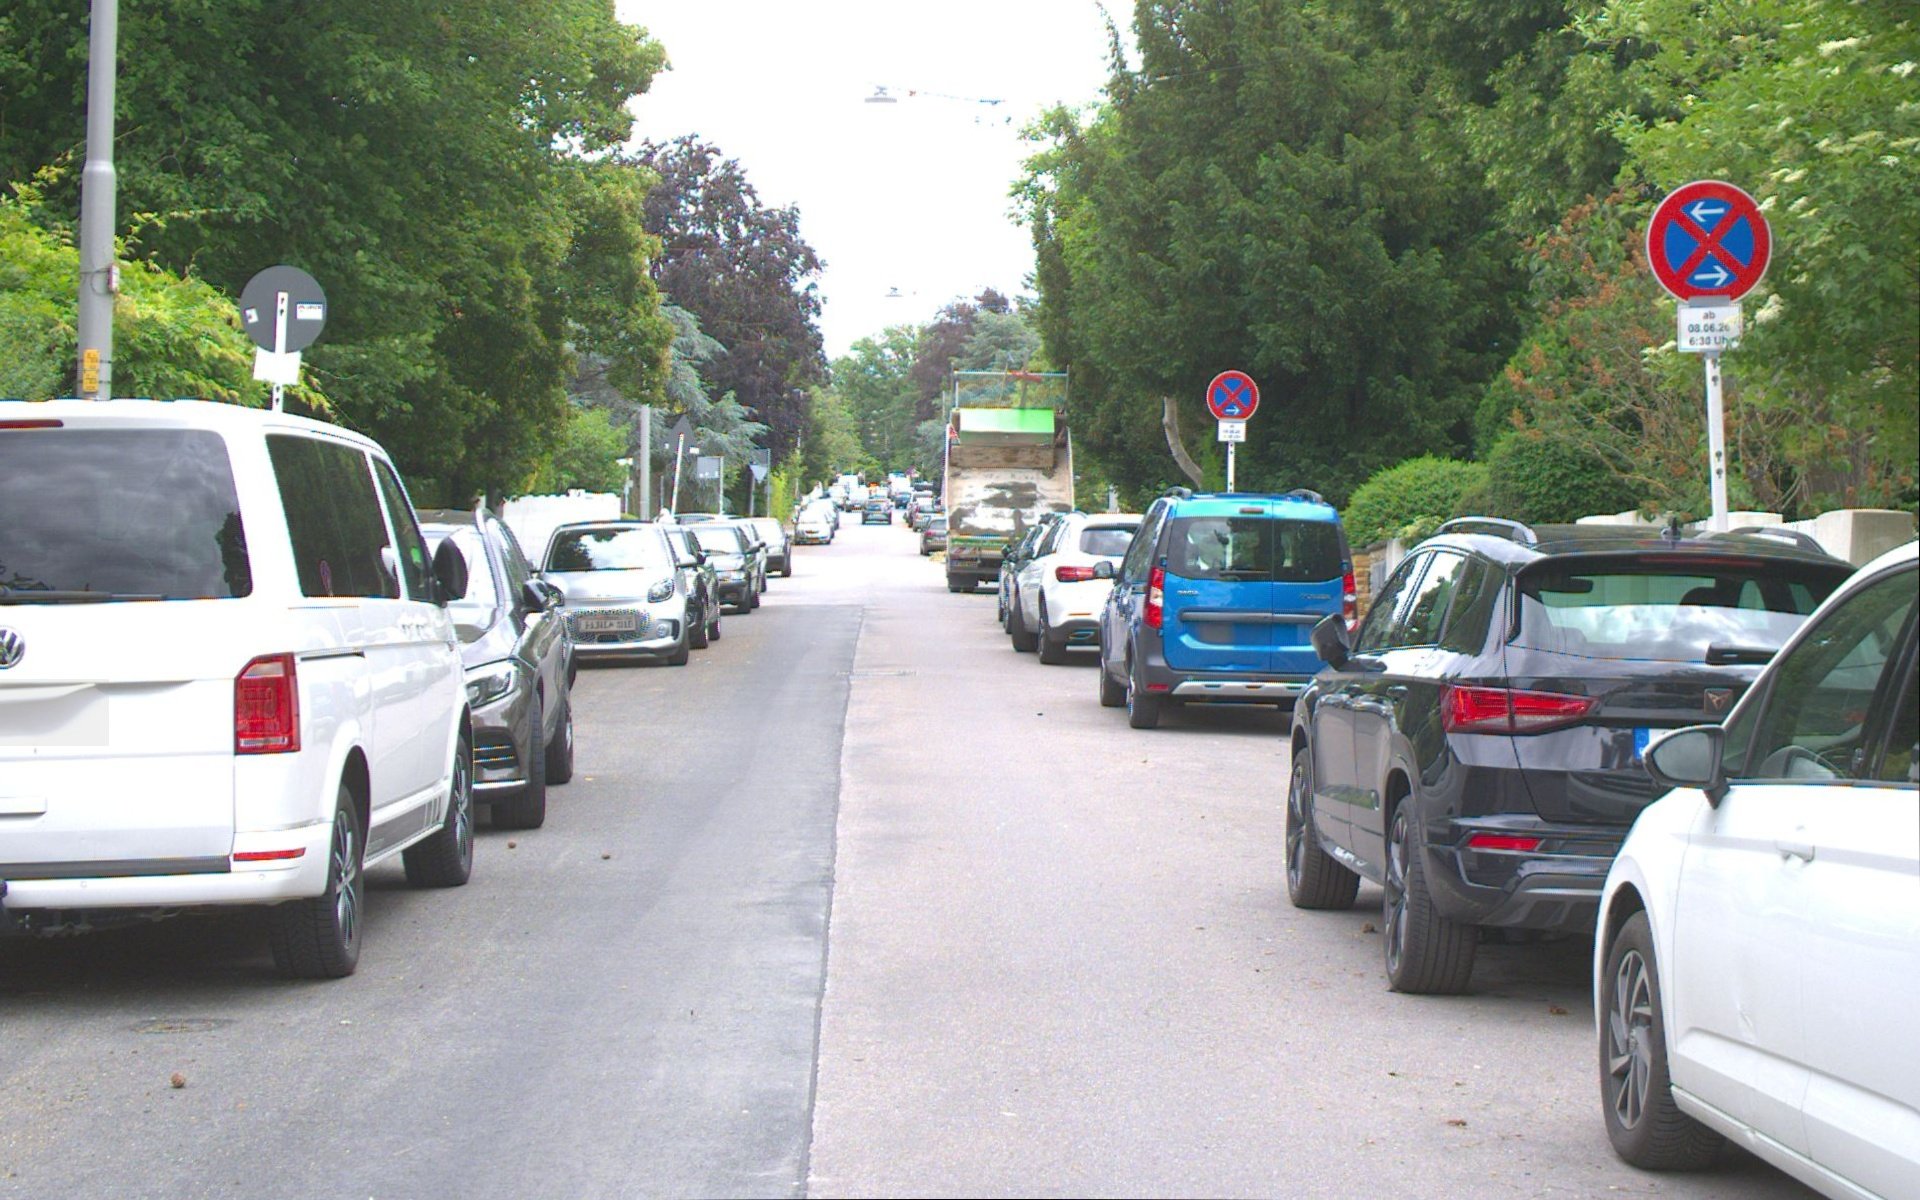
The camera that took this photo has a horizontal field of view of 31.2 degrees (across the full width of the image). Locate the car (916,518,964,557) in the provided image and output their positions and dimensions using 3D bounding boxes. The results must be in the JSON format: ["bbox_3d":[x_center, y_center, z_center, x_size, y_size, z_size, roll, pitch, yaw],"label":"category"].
[{"bbox_3d":[-0.820,-2.525,138.413,1.778,1.484,4.001,1,1,-2],"label":"car"}]

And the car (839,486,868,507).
[{"bbox_3d":[-7.422,-7.216,239.183,1.728,1.402,3.803,1,1,3],"label":"car"}]

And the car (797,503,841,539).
[{"bbox_3d":[-6.491,-3.636,158.348,1.711,1.580,4.000,1,1,1],"label":"car"}]

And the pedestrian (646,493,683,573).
[{"bbox_3d":[-7.586,-1.721,88.201,0.852,2.007,0.701,3,1,-6],"label":"pedestrian"}]

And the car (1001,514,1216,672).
[{"bbox_3d":[1.580,-0.129,38.187,1.757,1.600,4.576,2,1,-5],"label":"car"}]

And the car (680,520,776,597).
[{"bbox_3d":[-4.478,-0.830,66.763,1.595,1.428,4.000,-1,1,-1],"label":"car"}]

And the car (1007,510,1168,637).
[{"bbox_3d":[1.614,-0.370,44.748,1.698,1.565,4.309,0,1,-3],"label":"car"}]

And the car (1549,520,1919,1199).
[{"bbox_3d":[2.588,0.682,6.980,1.785,1.598,4.305,3,1,-3],"label":"car"}]

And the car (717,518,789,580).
[{"bbox_3d":[-4.918,-1.226,81.981,1.637,1.390,3.989,-1,2,-3],"label":"car"}]

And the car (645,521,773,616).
[{"bbox_3d":[-3.991,-0.539,55.212,1.641,1.417,4.550,-2,1,1],"label":"car"}]

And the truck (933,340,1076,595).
[{"bbox_3d":[0.810,-2.588,68.615,2.524,4.732,7.188,2,1,-1],"label":"truck"}]

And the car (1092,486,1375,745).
[{"bbox_3d":[2.087,0.053,27.268,1.682,1.823,4.157,3,2,-2],"label":"car"}]

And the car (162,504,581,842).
[{"bbox_3d":[-3.077,0.301,18.763,1.790,1.617,4.344,0,1,-4],"label":"car"}]

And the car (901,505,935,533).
[{"bbox_3d":[-2.320,-4.519,191.705,1.789,1.524,3.734,1,1,0],"label":"car"}]

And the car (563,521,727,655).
[{"bbox_3d":[-3.790,-0.185,41.836,1.655,1.476,3.888,-2,2,-1],"label":"car"}]

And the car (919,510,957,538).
[{"bbox_3d":[-1.171,-4.051,182.224,1.810,1.331,3.633,2,2,-2],"label":"car"}]

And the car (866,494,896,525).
[{"bbox_3d":[-4.577,-5.253,199.584,1.633,1.695,3.495,1,2,-2],"label":"car"}]

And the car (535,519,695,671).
[{"bbox_3d":[-3.719,-0.089,37.328,1.621,1.528,2.963,-1,2,-5],"label":"car"}]

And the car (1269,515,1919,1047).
[{"bbox_3d":[2.305,0.551,12.855,1.750,1.602,4.076,3,1,-2],"label":"car"}]

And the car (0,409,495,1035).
[{"bbox_3d":[-2.965,0.357,12.922,1.854,1.907,4.620,-2,1,-1],"label":"car"}]
